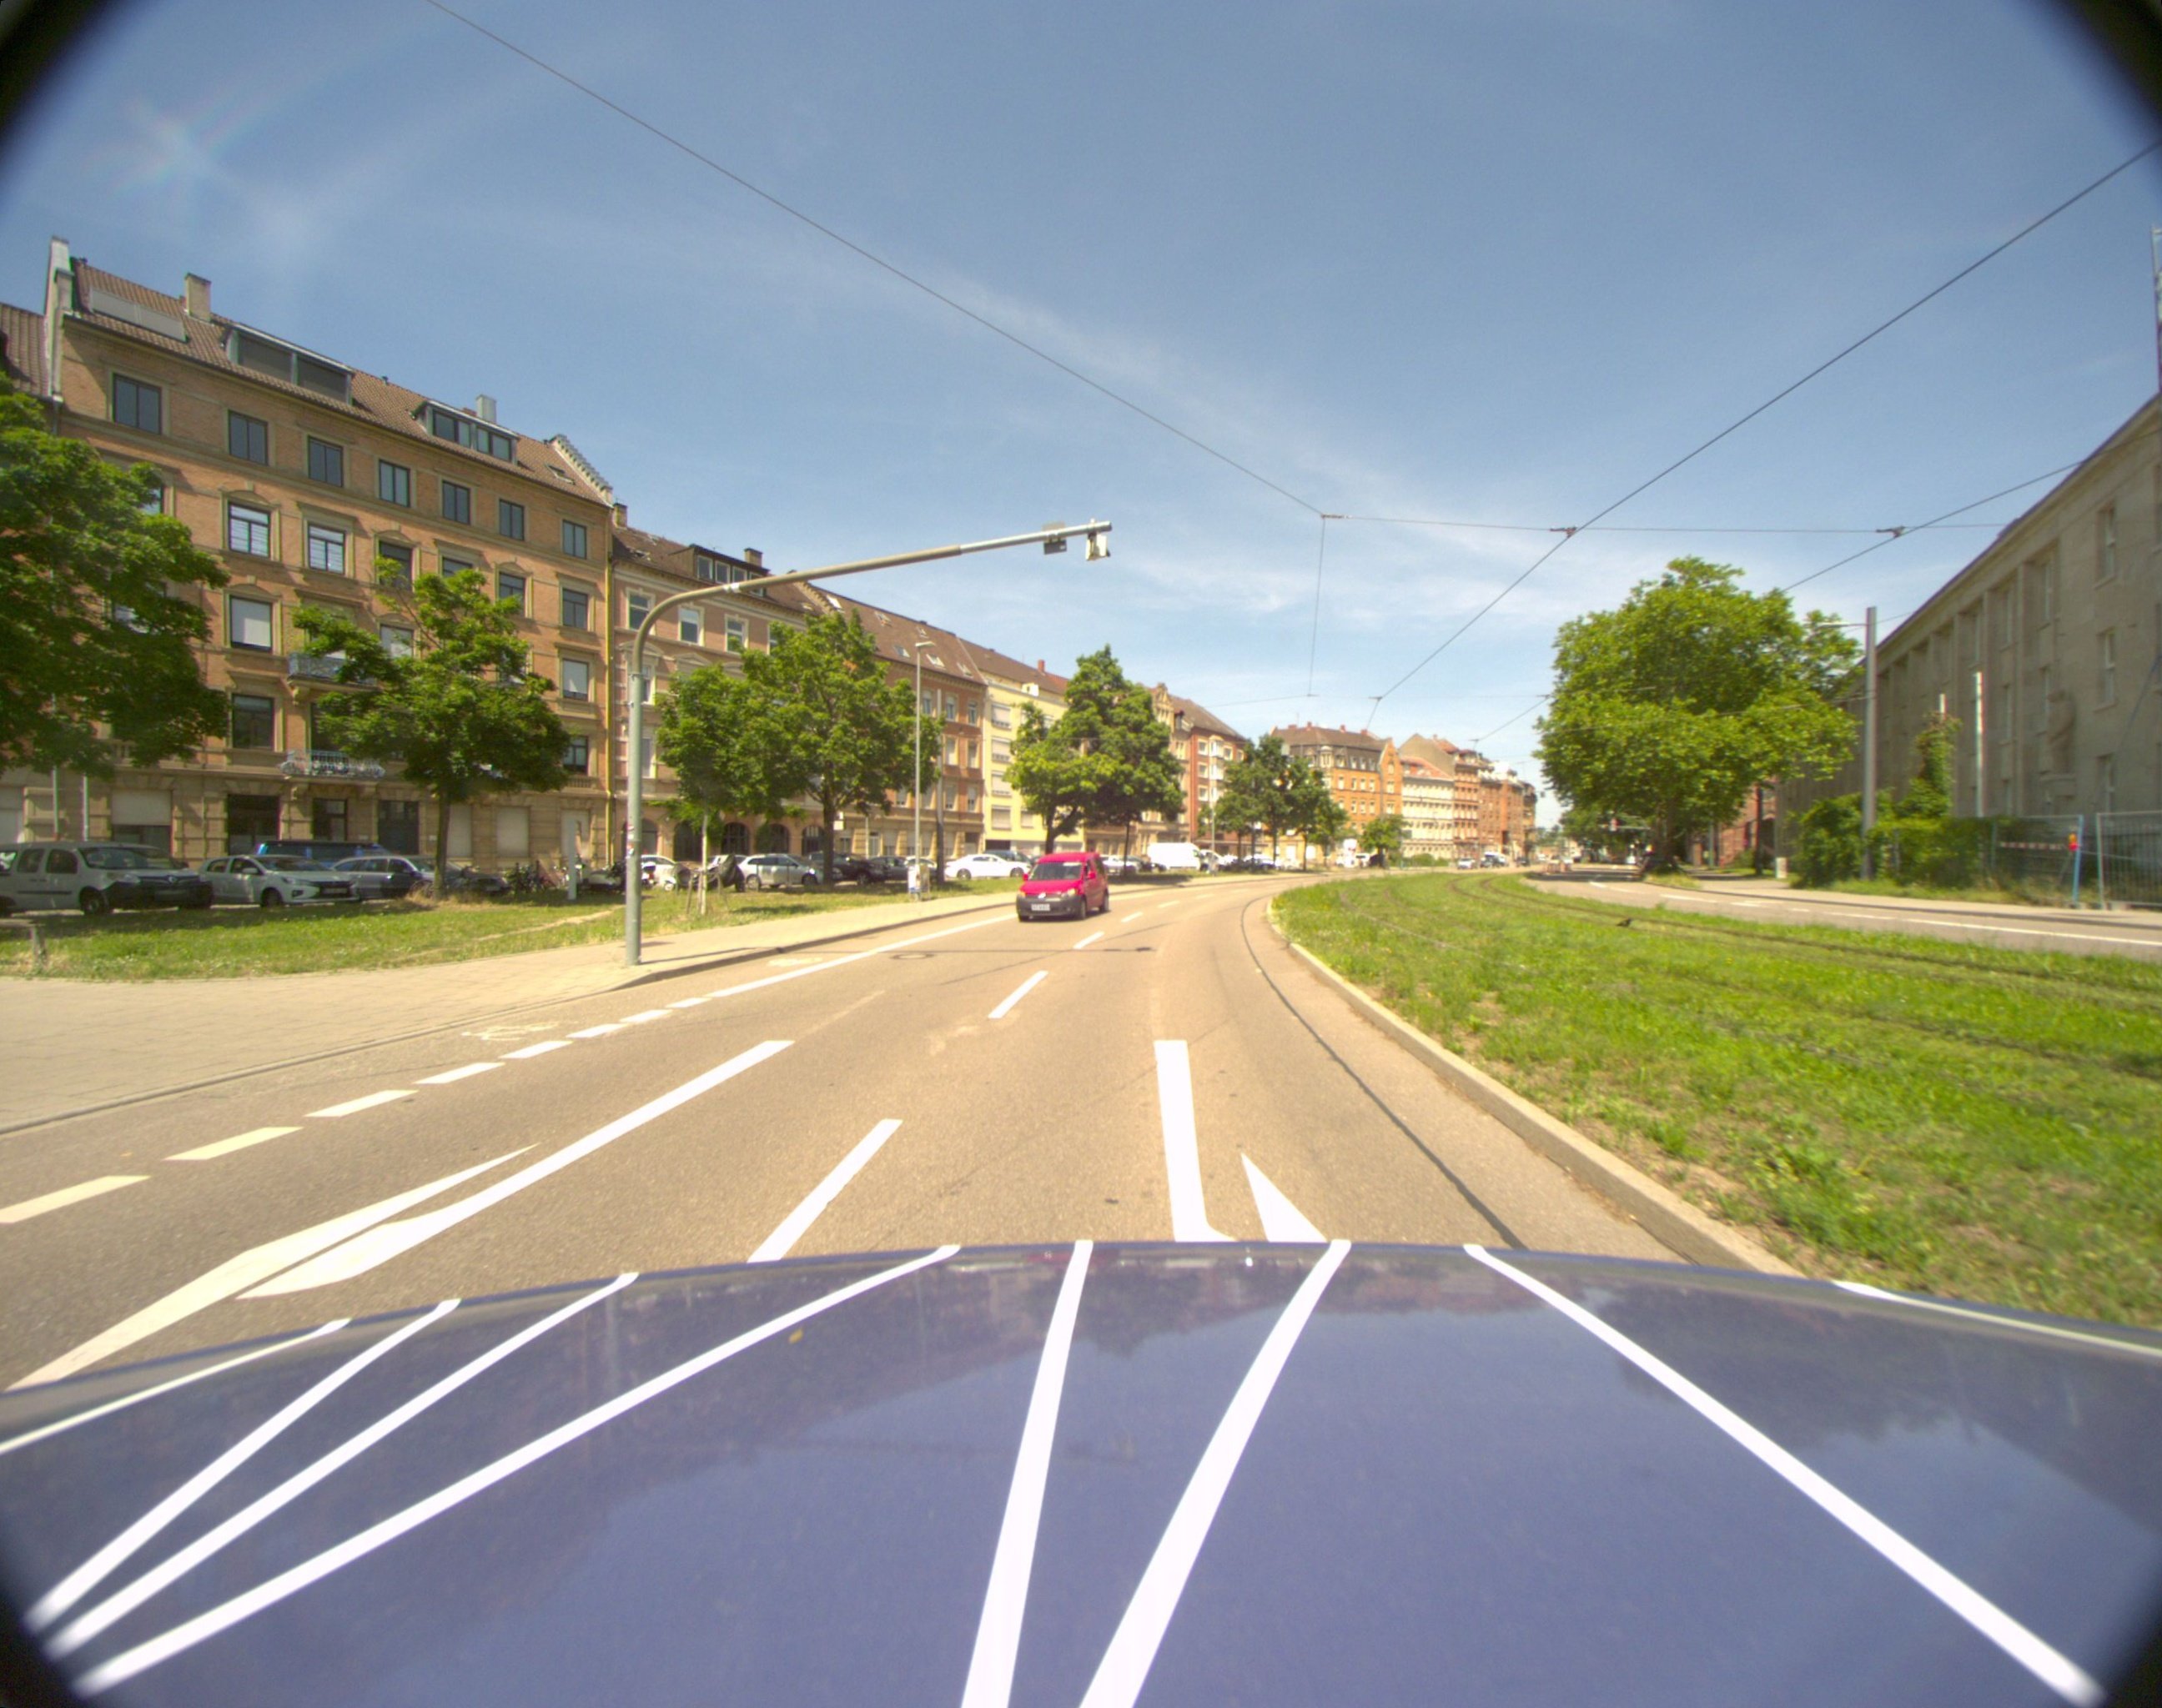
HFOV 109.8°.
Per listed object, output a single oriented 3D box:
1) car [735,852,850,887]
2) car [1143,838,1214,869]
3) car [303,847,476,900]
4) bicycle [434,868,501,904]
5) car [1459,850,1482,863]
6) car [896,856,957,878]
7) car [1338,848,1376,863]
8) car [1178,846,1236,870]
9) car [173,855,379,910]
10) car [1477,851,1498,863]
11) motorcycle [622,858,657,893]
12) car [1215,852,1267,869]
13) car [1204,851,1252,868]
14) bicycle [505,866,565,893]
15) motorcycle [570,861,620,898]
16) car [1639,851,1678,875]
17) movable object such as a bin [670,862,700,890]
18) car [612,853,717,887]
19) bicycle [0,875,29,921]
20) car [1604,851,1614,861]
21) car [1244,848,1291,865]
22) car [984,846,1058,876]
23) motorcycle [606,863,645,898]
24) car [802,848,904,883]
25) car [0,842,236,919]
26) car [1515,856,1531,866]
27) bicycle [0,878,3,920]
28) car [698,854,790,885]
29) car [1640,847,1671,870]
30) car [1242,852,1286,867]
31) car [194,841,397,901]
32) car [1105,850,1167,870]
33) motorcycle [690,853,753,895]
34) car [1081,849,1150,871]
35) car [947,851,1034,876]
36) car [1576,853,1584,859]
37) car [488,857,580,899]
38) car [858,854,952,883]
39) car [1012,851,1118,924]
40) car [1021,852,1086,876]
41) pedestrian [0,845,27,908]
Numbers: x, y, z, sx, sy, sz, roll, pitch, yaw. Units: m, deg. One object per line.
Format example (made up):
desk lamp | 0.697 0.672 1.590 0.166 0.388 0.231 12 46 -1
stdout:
car | -12.233 0.648 32.291 4.341 1.368 1.584 -1 0 10
car | 8.007 -0.022 62.700 5.548 2.446 2.238 -1 0 0
car | -20.290 0.560 22.359 3.863 1.424 1.608 -1 0 7
bicycle | -16.636 0.858 20.631 1.373 0.942 0.475 -1 0 -33
car | 48.150 0.299 93.829 1.796 1.564 4.008 -2 -1 38
car | -10.126 0.839 50.064 1.780 1.411 3.723 -2 -1 35
car | 38.554 0.233 106.048 4.843 1.926 2.171 -2 0 23
car | 10.795 0.354 65.382 4.842 1.961 2.078 -1 0 7
car | -21.064 0.738 19.949 3.994 1.324 1.760 -1 0 9
car | 55.366 0.450 103.498 1.796 1.564 4.008 -2 -1 38
motorcycle | -16.574 0.797 28.513 0.814 1.229 2.079 -1 0 -38
car | 14.859 0.634 70.522 4.625 1.488 1.967 -1 0 12
car | 13.127 0.496 67.860 3.992 1.378 1.826 -1 0 15
bicycle | -17.321 0.804 24.119 1.457 0.800 0.498 -1 0 -20
motorcycle | -15.211 0.811 23.769 1.823 1.113 0.529 -2 0 29
car | 36.297 0.559 47.838 1.588 1.415 4.332 -2 -1 32
movable object such as a bin | -14.004 0.774 26.855 0.703 0.931 0.986 -1 0 -42
car | -19.942 0.741 36.535 1.837 1.521 4.008 -2 -1 38
bicycle | -23.508 0.941 15.727 2.427 0.930 0.508 -1 0 -7
car | 124.848 0.429 179.748 1.817 2.283 3.770 -1 -1 34
car | 18.583 0.277 75.706 4.404 1.622 2.002 -1 0 14
car | -3.587 0.432 45.767 3.994 1.652 1.974 -1 0 10
motorcycle | -14.728 0.859 24.555 1.521 1.113 0.479 -2 0 36
car | -10.429 0.527 34.882 4.086 1.461 1.799 -1 0 9
car | -22.651 0.614 17.547 4.867 1.591 1.838 -1 0 9
car | 70.310 1.066 120.785 1.796 1.564 4.008 -2 -1 35
bicycle | -24.789 0.991 16.239 2.427 0.930 0.508 0 0 -7
car | -17.710 0.779 40.088 1.837 1.521 4.008 -2 -1 34
car | 48.367 0.376 63.902 1.994 1.800 4.310 -2 -1 38
car | 17.528 0.519 72.620 3.992 1.391 1.826 -1 0 15
car | -27.110 0.551 26.383 1.920 1.892 4.664 -2 -1 36
car | 4.006 0.456 56.046 4.429 1.330 1.972 -1 0 0
motorcycle | -12.450 0.661 26.370 0.675 1.405 1.860 1 1 37
car | 2.370 0.448 53.059 4.689 1.419 1.972 -1 0 0
car | -5.086 0.547 43.073 4.786 1.305 2.149 -1 -1 -5
car | 137.417 0.573 209.231 1.747 1.386 4.356 -3 -2 33
car | -19.475 0.831 26.984 3.989 1.368 1.961 -2 -1 44
car | -8.583 0.702 37.254 3.992 1.305 1.974 -1 -1 14
car | -0.291 0.869 21.688 1.858 1.823 5.171 -1 -1 12
car | -1.677 0.653 47.902 3.997 1.392 1.712 -1 0 0
pedestrian | -31.242 0.654 22.131 0.452 1.808 0.604 -1 0 36
